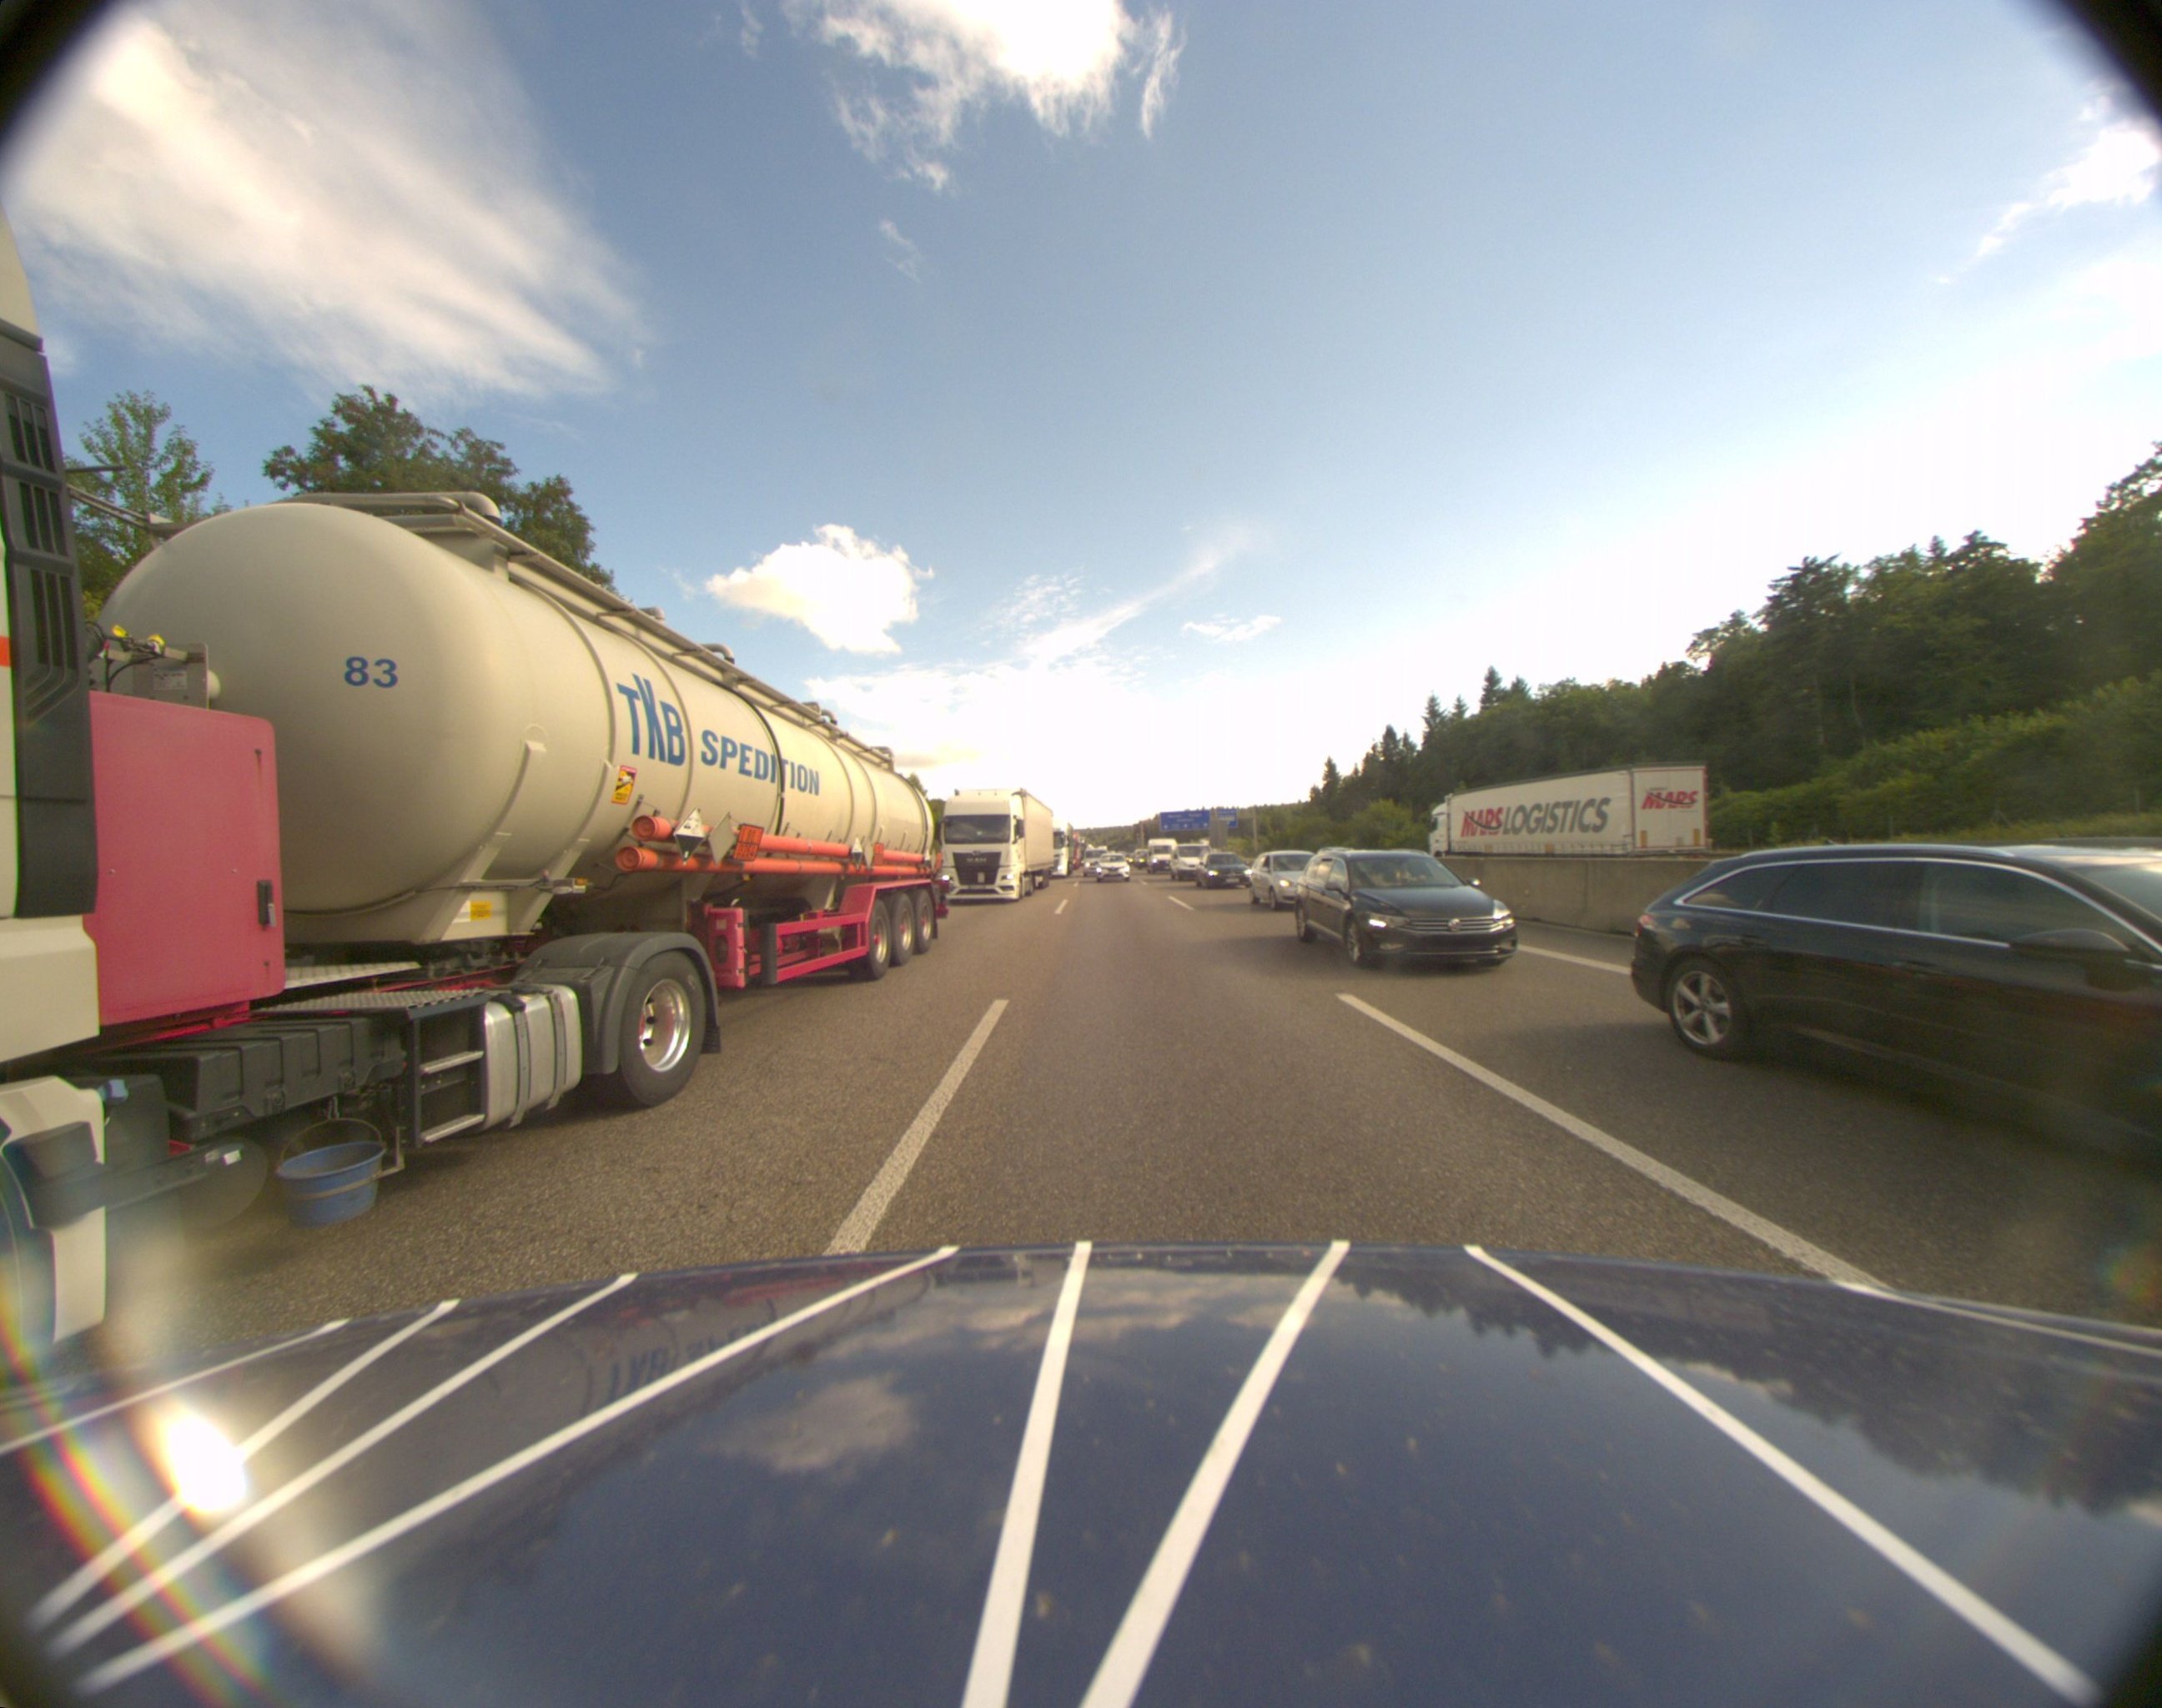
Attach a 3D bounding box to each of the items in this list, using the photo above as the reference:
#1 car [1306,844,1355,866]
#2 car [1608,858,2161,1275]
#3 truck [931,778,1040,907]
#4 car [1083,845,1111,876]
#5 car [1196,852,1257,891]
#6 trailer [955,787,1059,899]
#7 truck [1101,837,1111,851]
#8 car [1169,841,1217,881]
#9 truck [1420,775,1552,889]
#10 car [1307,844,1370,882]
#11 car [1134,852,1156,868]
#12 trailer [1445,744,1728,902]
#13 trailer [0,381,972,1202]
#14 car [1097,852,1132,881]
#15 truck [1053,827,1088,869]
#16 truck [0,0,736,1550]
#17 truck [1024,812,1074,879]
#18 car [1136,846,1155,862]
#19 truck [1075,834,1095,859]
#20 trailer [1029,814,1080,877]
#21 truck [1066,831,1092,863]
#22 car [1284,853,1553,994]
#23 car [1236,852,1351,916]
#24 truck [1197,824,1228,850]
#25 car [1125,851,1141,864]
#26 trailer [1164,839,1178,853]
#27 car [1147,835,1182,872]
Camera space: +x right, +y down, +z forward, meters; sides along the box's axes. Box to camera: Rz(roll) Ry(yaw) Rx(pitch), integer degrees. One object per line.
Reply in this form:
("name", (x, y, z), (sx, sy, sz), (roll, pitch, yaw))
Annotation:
("car", (17.303, 0.071, 52.864), (1.959, 1.419, 4.323), (-2, 0, 1))
("car", (5.014, 0.813, 3.517), (1.887, 1.463, 4.852), (-2, 0, 2))
("truck", (-3.198, -0.389, 27.157), (2.840, 4.048, 5.707), (-2, 1, 2))
("car", (1.149, 0.405, 53.516), (1.809, 2.052, 4.770), (-2, 0, 1))
("car", (5.868, 0.676, 31.063), (1.809, 1.423, 3.994), (-2, 0, 1))
("trailer", (-2.914, -0.451, 34.632), (2.832, 4.047, 13.372), (-2, 1, 2))
("truck", (8.062, -3.201, 244.417), (2.840, 4.178, 12.045), (-2, 1, 3))
("car", (6.000, 0.339, 41.143), (1.947, 1.953, 4.848), (-2, 0, 1))
("truck", (20.554, -1.082, 39.109), (3.047, 5.223, 6.882), (-2, 1, 1))
("car", (13.536, 0.443, 40.158), (1.857, 1.799, 4.323), (-2, 0, 1))
("car", (5.949, 0.556, 71.062), (1.809, 1.423, 3.660), (-2, 0, 1))
("trailer", (20.471, -1.156, 32.712), (3.050, 5.250, 13.833), (-2, 1, 1))
("trailer", (-3.816, -0.317, 9.377), (2.805, 4.003, 11.182), (-2, 1, 2))
("car", (1.845, 0.668, 42.890), (1.809, 1.488, 4.666), (-1, 0, 1))
("truck", (-0.980, -0.702, 82.712), (2.840, 4.178, 12.045), (-2, 1, 3))
("truck", (-4.094, -0.263, 2.608), (2.809, 4.020, 5.904), (-2, 1, 2))
("truck", (-2.082, -0.562, 51.593), (2.841, 4.178, 5.707), (-2, 0, 2))
("car", (7.681, 0.007, 90.608), (1.920, 1.785, 3.811), (-2, 0, 1))
("truck", (0.772, -1.312, 136.249), (2.840, 4.178, 12.045), (-2, 1, 3))
("trailer", (-1.841, -0.606, 58.656), (2.841, 4.177, 13.613), (-2, 0, 2))
("truck", (-0.247, -1.021, 107.937), (2.840, 4.178, 12.045), (-2, 1, 3))
("car", (4.278, 0.760, 10.561), (1.915, 1.469, 4.569), (-2, 0, 3))
("car", (5.456, 0.700, 20.150), (1.809, 1.423, 4.666), (-2, 0, 1))
("truck", (22.946, -2.943, 133.543), (2.939, 4.329, 13.908), (-2, 1, 1))
("car", (6.736, 0.452, 98.764), (1.920, 1.535, 3.811), (-2, 0, 1))
("trailer", (27.468, -2.514, 232.765), (2.841, 4.178, 13.561), (-2, 1, 1))
("car", (6.107, -0.061, 55.966), (2.054, 2.557, 5.861), (-1, 0, 1))
